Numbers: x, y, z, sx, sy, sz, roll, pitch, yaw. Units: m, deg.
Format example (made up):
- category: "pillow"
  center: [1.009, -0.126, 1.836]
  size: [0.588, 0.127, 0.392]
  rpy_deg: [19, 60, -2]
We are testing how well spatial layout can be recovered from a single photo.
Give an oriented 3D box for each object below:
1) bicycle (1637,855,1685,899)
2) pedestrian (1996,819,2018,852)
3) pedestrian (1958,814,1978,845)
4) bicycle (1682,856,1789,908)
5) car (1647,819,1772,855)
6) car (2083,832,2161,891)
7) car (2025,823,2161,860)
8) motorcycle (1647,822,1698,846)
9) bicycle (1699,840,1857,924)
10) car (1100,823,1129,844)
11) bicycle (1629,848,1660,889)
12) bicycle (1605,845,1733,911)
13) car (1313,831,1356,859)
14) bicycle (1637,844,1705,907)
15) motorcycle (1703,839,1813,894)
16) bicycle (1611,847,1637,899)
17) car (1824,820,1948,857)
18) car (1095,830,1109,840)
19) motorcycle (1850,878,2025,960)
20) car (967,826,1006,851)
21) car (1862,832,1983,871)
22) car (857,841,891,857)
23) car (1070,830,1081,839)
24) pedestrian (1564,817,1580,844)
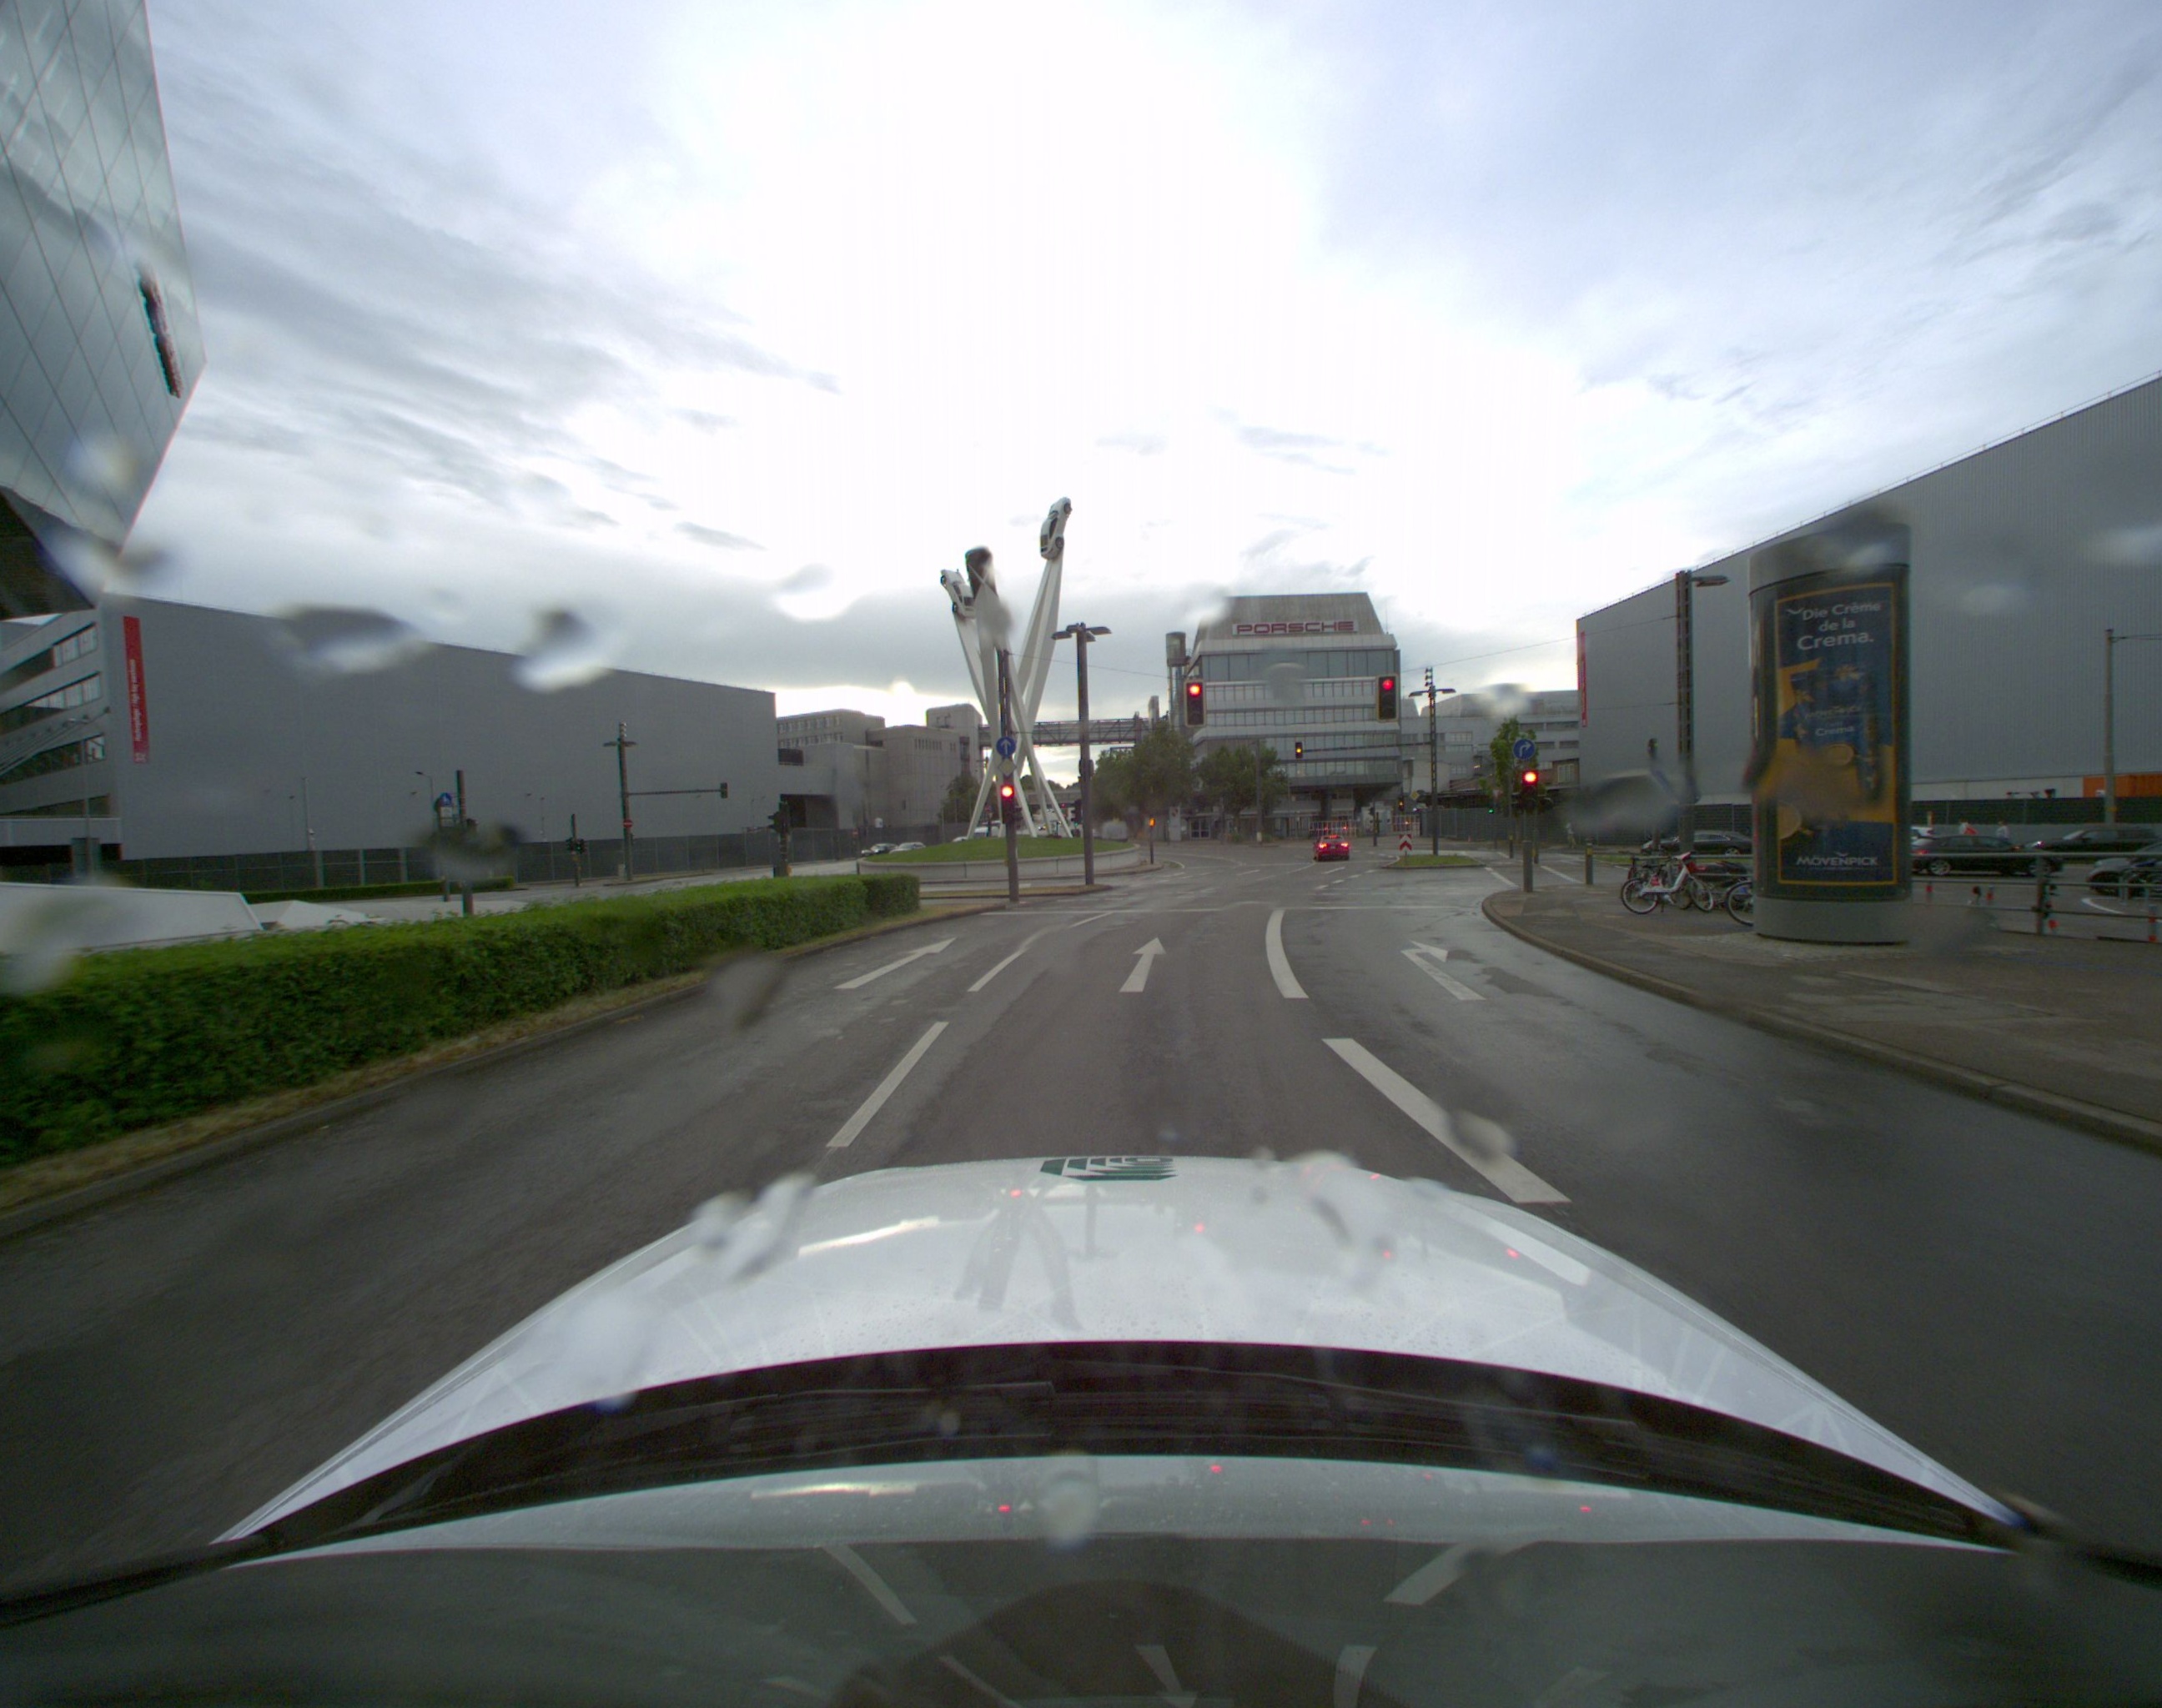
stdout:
- category: "bicycle"
  center: [12.897, 0.491, 18.149]
  size: [0.526, 0.905, 1.823]
  rpy_deg: [-1, 0, 24]
- category: "pedestrian"
  center: [42.903, -0.859, 37.735]
  size: [0.441, 1.481, 0.642]
  rpy_deg: [-2, 1, -44]
- category: "pedestrian"
  center: [42.483, -1.158, 39.003]
  size: [0.426, 1.481, 0.606]
  rpy_deg: [-2, 1, -42]
- category: "bicycle"
  center: [12.447, 0.500, 15.589]
  size: [0.687, 0.905, 2.182]
  rpy_deg: [-1, 0, 12]
- category: "car"
  center: [29.507, -0.811, 38.342]
  size: [4.526, 1.539, 1.768]
  rpy_deg: [1, 3, 42]
- category: "car"
  center: [28.944, 0.187, 20.655]
  size: [1.837, 1.530, 4.135]
  rpy_deg: [0, 0, -22]
- category: "car"
  center: [41.367, -0.522, 32.950]
  size: [3.950, 1.392, 1.768]
  rpy_deg: [1, 3, 42]
- category: "motorcycle"
  center: [33.937, -1.139, 46.746]
  size: [2.330, 1.344, 0.657]
  rpy_deg: [-1, 1, 41]
- category: "bicycle"
  center: [10.516, 0.421, 12.320]
  size: [1.792, 1.161, 0.592]
  rpy_deg: [-3, 0, 3]
- category: "car"
  center: [3.729, -2.251, 91.099]
  size: [2.232, 2.108, 4.938]
  rpy_deg: [-2, 0, -9]
- category: "bicycle"
  center: [16.000, 0.389, 23.128]
  size: [1.761, 1.097, 0.381]
  rpy_deg: [-2, 0, -45]
- category: "bicycle"
  center: [10.729, 0.436, 14.897]
  size: [1.760, 1.140, 0.680]
  rpy_deg: [-2, -1, 7]
- category: "car"
  center: [14.511, -0.502, 46.469]
  size: [1.756, 1.464, 3.754]
  rpy_deg: [-2, 0, 25]
- category: "bicycle"
  center: [11.632, 0.401, 16.118]
  size: [0.382, 1.162, 2.009]
  rpy_deg: [-2, -1, 15]
- category: "motorcycle"
  center: [18.685, 0.345, 22.546]
  size: [2.208, 1.452, 0.761]
  rpy_deg: [-1, 1, 23]
- category: "bicycle"
  center: [12.454, 0.419, 18.705]
  size: [0.381, 1.119, 1.762]
  rpy_deg: [-2, 0, 31]
- category: "car"
  center: [36.654, -0.710, 37.240]
  size: [3.931, 1.601, 1.923]
  rpy_deg: [1, 2, 42]
- category: "car"
  center: [2.995, -2.797, 118.347]
  size: [1.664, 1.301, 3.881]
  rpy_deg: [-2, 0, -3]
- category: "motorcycle"
  center: [12.160, 0.888, 11.648]
  size: [0.694, 0.990, 1.751]
  rpy_deg: [-2, 1, 2]
- category: "car"
  center: [-9.618, -1.621, 83.710]
  size: [1.979, 2.447, 5.449]
  rpy_deg: [-2, 1, 15]
- category: "car"
  center: [29.849, -0.094, 29.034]
  size: [1.596, 1.291, 3.585]
  rpy_deg: [-2, 0, 21]
- category: "car"
  center: [-19.847, -0.499, 78.323]
  size: [1.826, 1.472, 4.517]
  rpy_deg: [-2, 1, 3]
- category: "car"
  center: [-0.795, -2.942, 122.738]
  size: [1.552, 1.288, 3.414]
  rpy_deg: [-2, 0, 1]
- category: "pedestrian"
  center: [30.498, -1.463, 50.577]
  size: [0.800, 1.610, 0.774]
  rpy_deg: [-2, -1, 29]
